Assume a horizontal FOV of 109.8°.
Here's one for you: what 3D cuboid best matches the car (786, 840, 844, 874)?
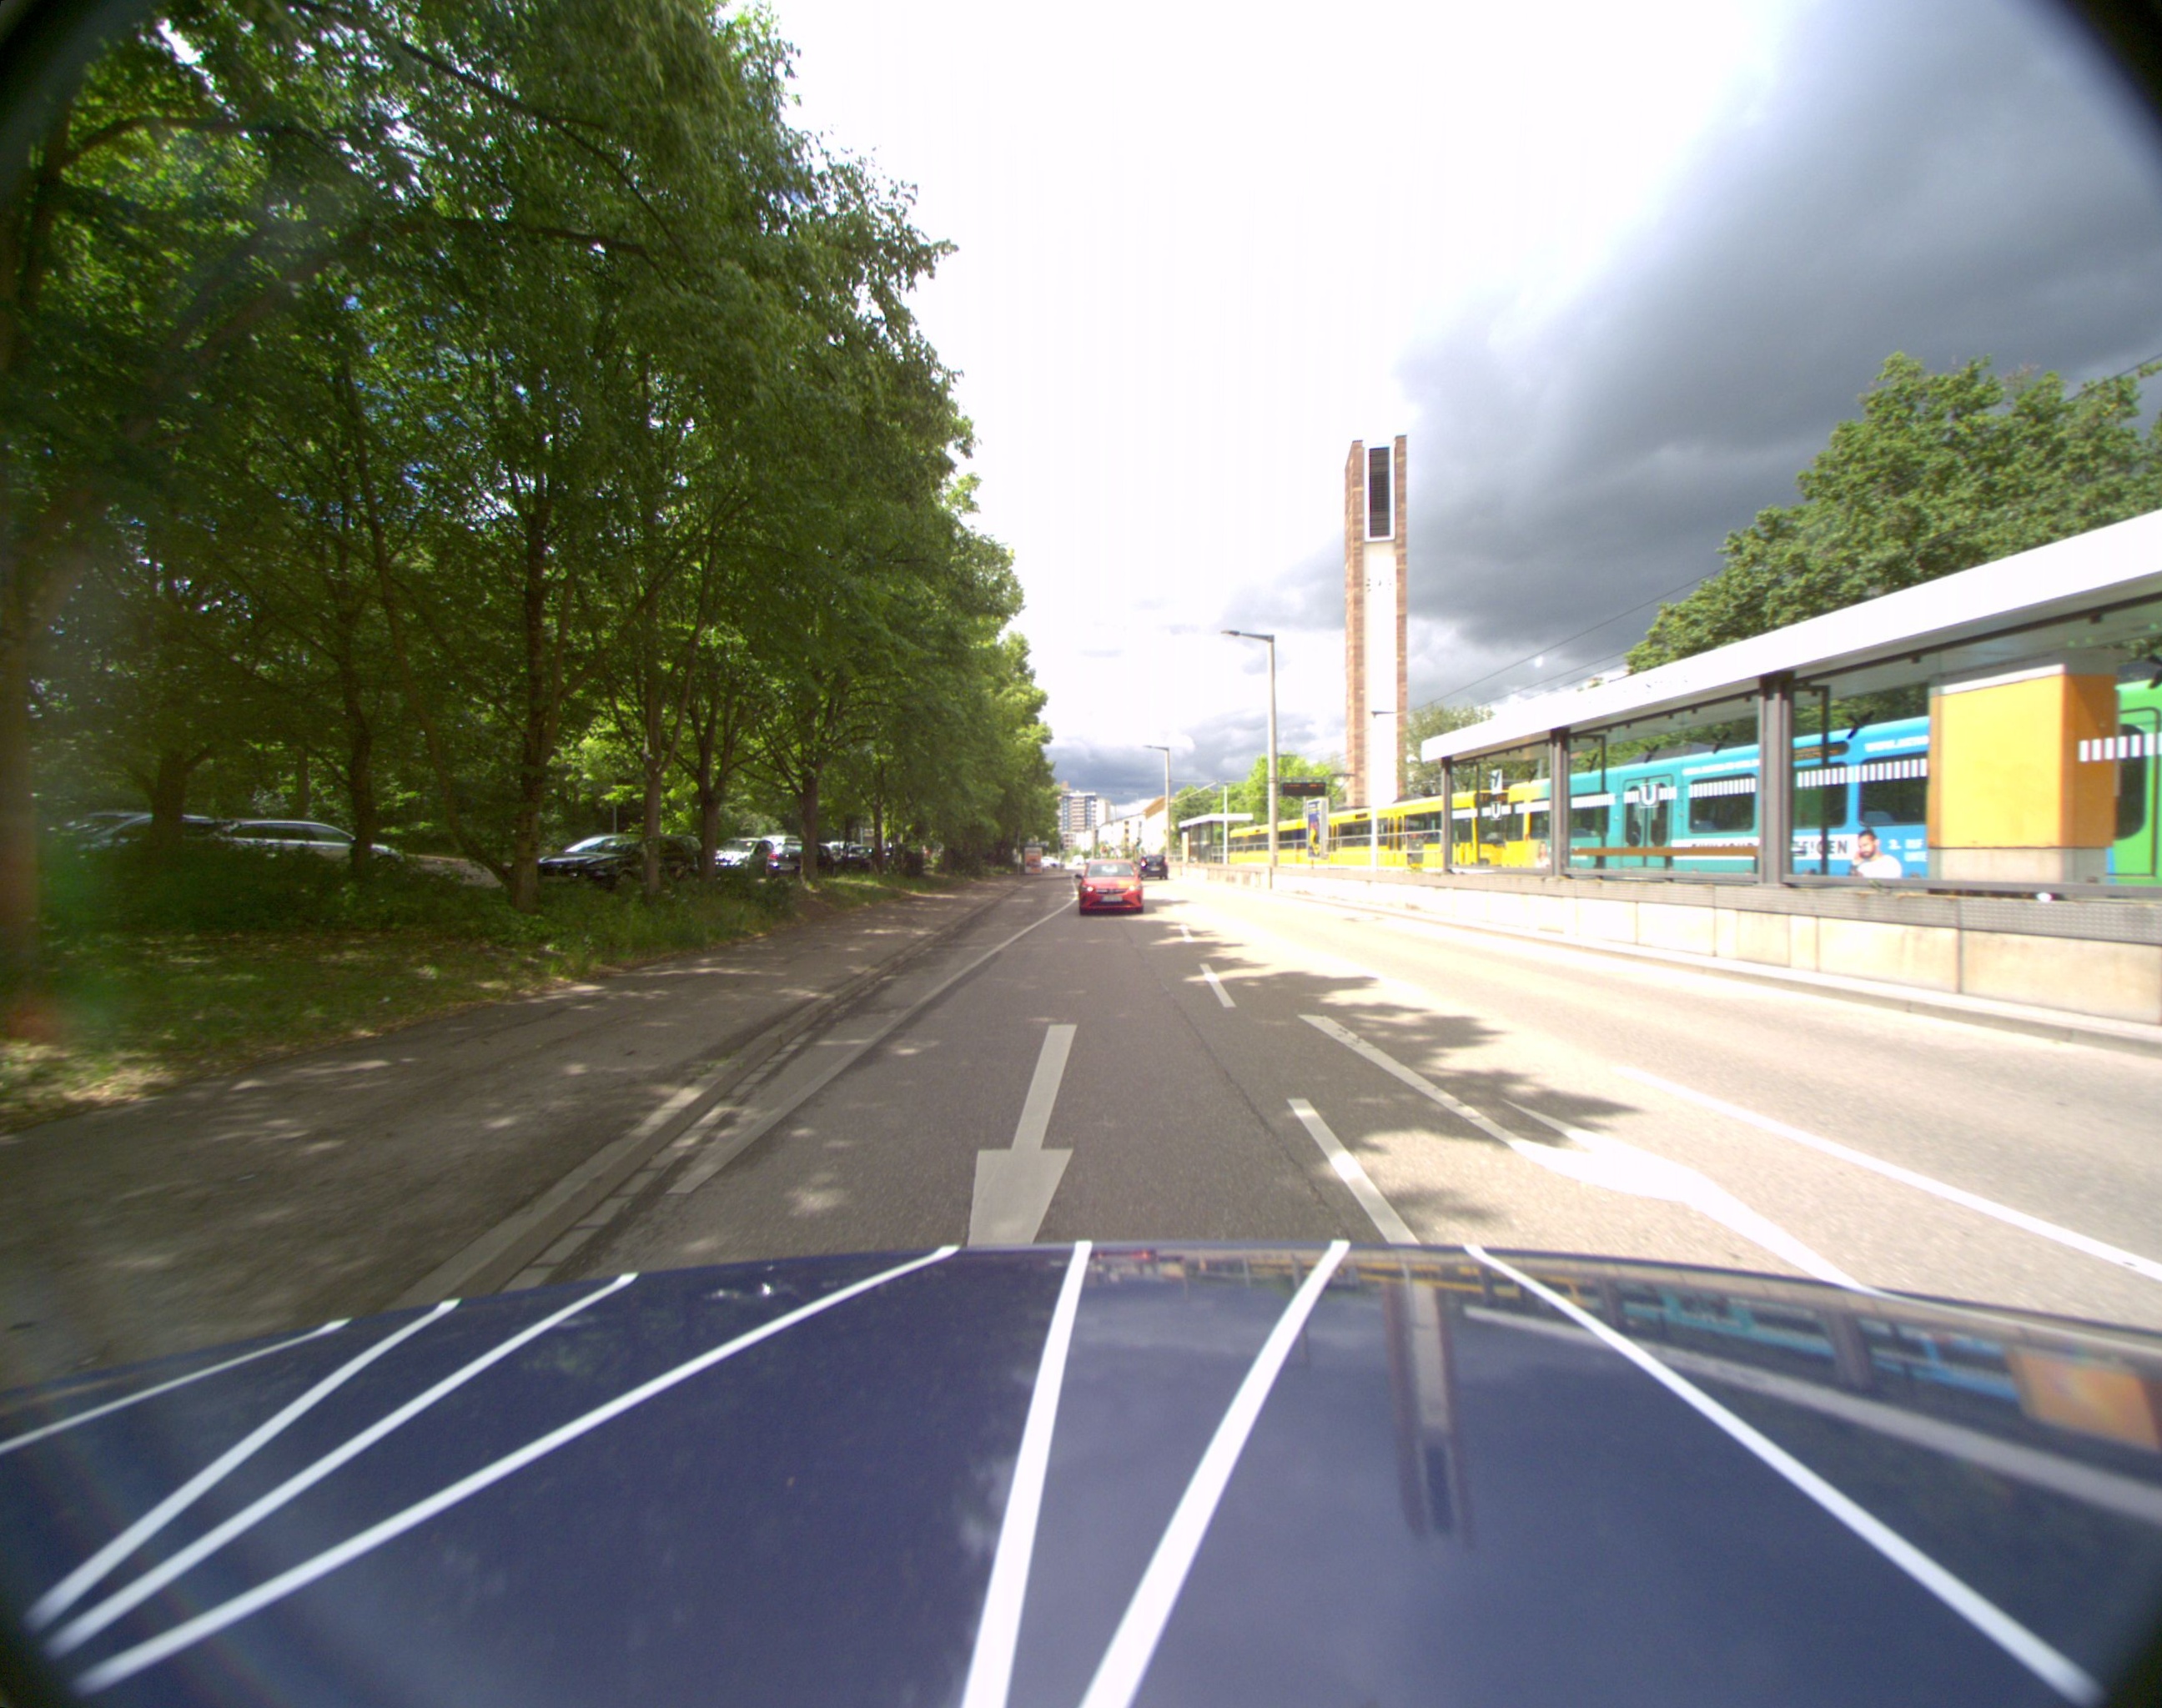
[{"bbox_3d":[-12.907,0.113,37.046,1.656,1.533,3.625,-1,1,-2],"label":"car"}]

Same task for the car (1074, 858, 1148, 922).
[{"bbox_3d":[0.760,0.887,20.567,1.756,1.433,4.226,-1,1,1],"label":"car"}]

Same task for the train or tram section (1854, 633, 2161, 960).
[{"bbox_3d":[14.238,-0.721,8.265,2.988,3.840,8.376,-2,1,-1],"label":"train or tram section"}]

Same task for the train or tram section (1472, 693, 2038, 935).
[{"bbox_3d":[14.107,-0.693,18.341,2.988,3.840,11.784,-2,0,-1],"label":"train or tram section"}]

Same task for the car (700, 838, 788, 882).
[{"bbox_3d":[-12.844,0.188,29.202,1.656,1.533,3.676,2,1,1],"label":"car"}]

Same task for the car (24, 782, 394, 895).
[{"bbox_3d":[-13.690,-0.230,12.301,1.656,1.533,3.627,-1,1,3],"label":"car"}]

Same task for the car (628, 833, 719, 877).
[{"bbox_3d":[-15.334,0.019,28.789,1.657,1.533,3.674,-1,1,-5],"label":"car"}]

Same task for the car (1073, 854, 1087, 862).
[{"bbox_3d":[-0.245,0.807,141.160,1.823,1.433,4.004,-1,1,-12],"label":"car"}]

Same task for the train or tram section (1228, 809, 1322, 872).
[{"bbox_3d":[13.432,-0.914,54.181,2.988,3.840,13.147,-2,0,-1],"label":"train or tram section"}]

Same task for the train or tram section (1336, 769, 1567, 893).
[{"bbox_3d":[13.876,-0.766,30.308,2.988,3.840,12.198,-2,0,-1],"label":"train or tram section"}]

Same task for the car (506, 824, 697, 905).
[{"bbox_3d":[-10.259,0.192,16.615,1.756,1.533,3.676,-1,1,1],"label":"car"}]

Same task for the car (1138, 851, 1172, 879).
[{"bbox_3d":[4.574,0.648,47.432,1.756,1.603,4.226,-1,1,1],"label":"car"}]

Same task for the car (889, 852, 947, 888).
[{"bbox_3d":[-7.624,0.708,35.844,1.656,1.533,3.677,-1,1,4],"label":"car"}]

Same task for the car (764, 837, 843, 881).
[{"bbox_3d":[-10.522,0.160,29.085,1.757,1.533,4.224,-1,1,-5],"label":"car"}]

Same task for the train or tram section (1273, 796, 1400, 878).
[{"bbox_3d":[13.659,-0.839,42.014,2.988,3.840,11.105,-2,0,-1],"label":"train or tram section"}]

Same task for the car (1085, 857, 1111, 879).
[{"bbox_3d":[1.218,0.989,54.455,1.756,1.433,4.226,-1,1,1],"label":"car"}]
